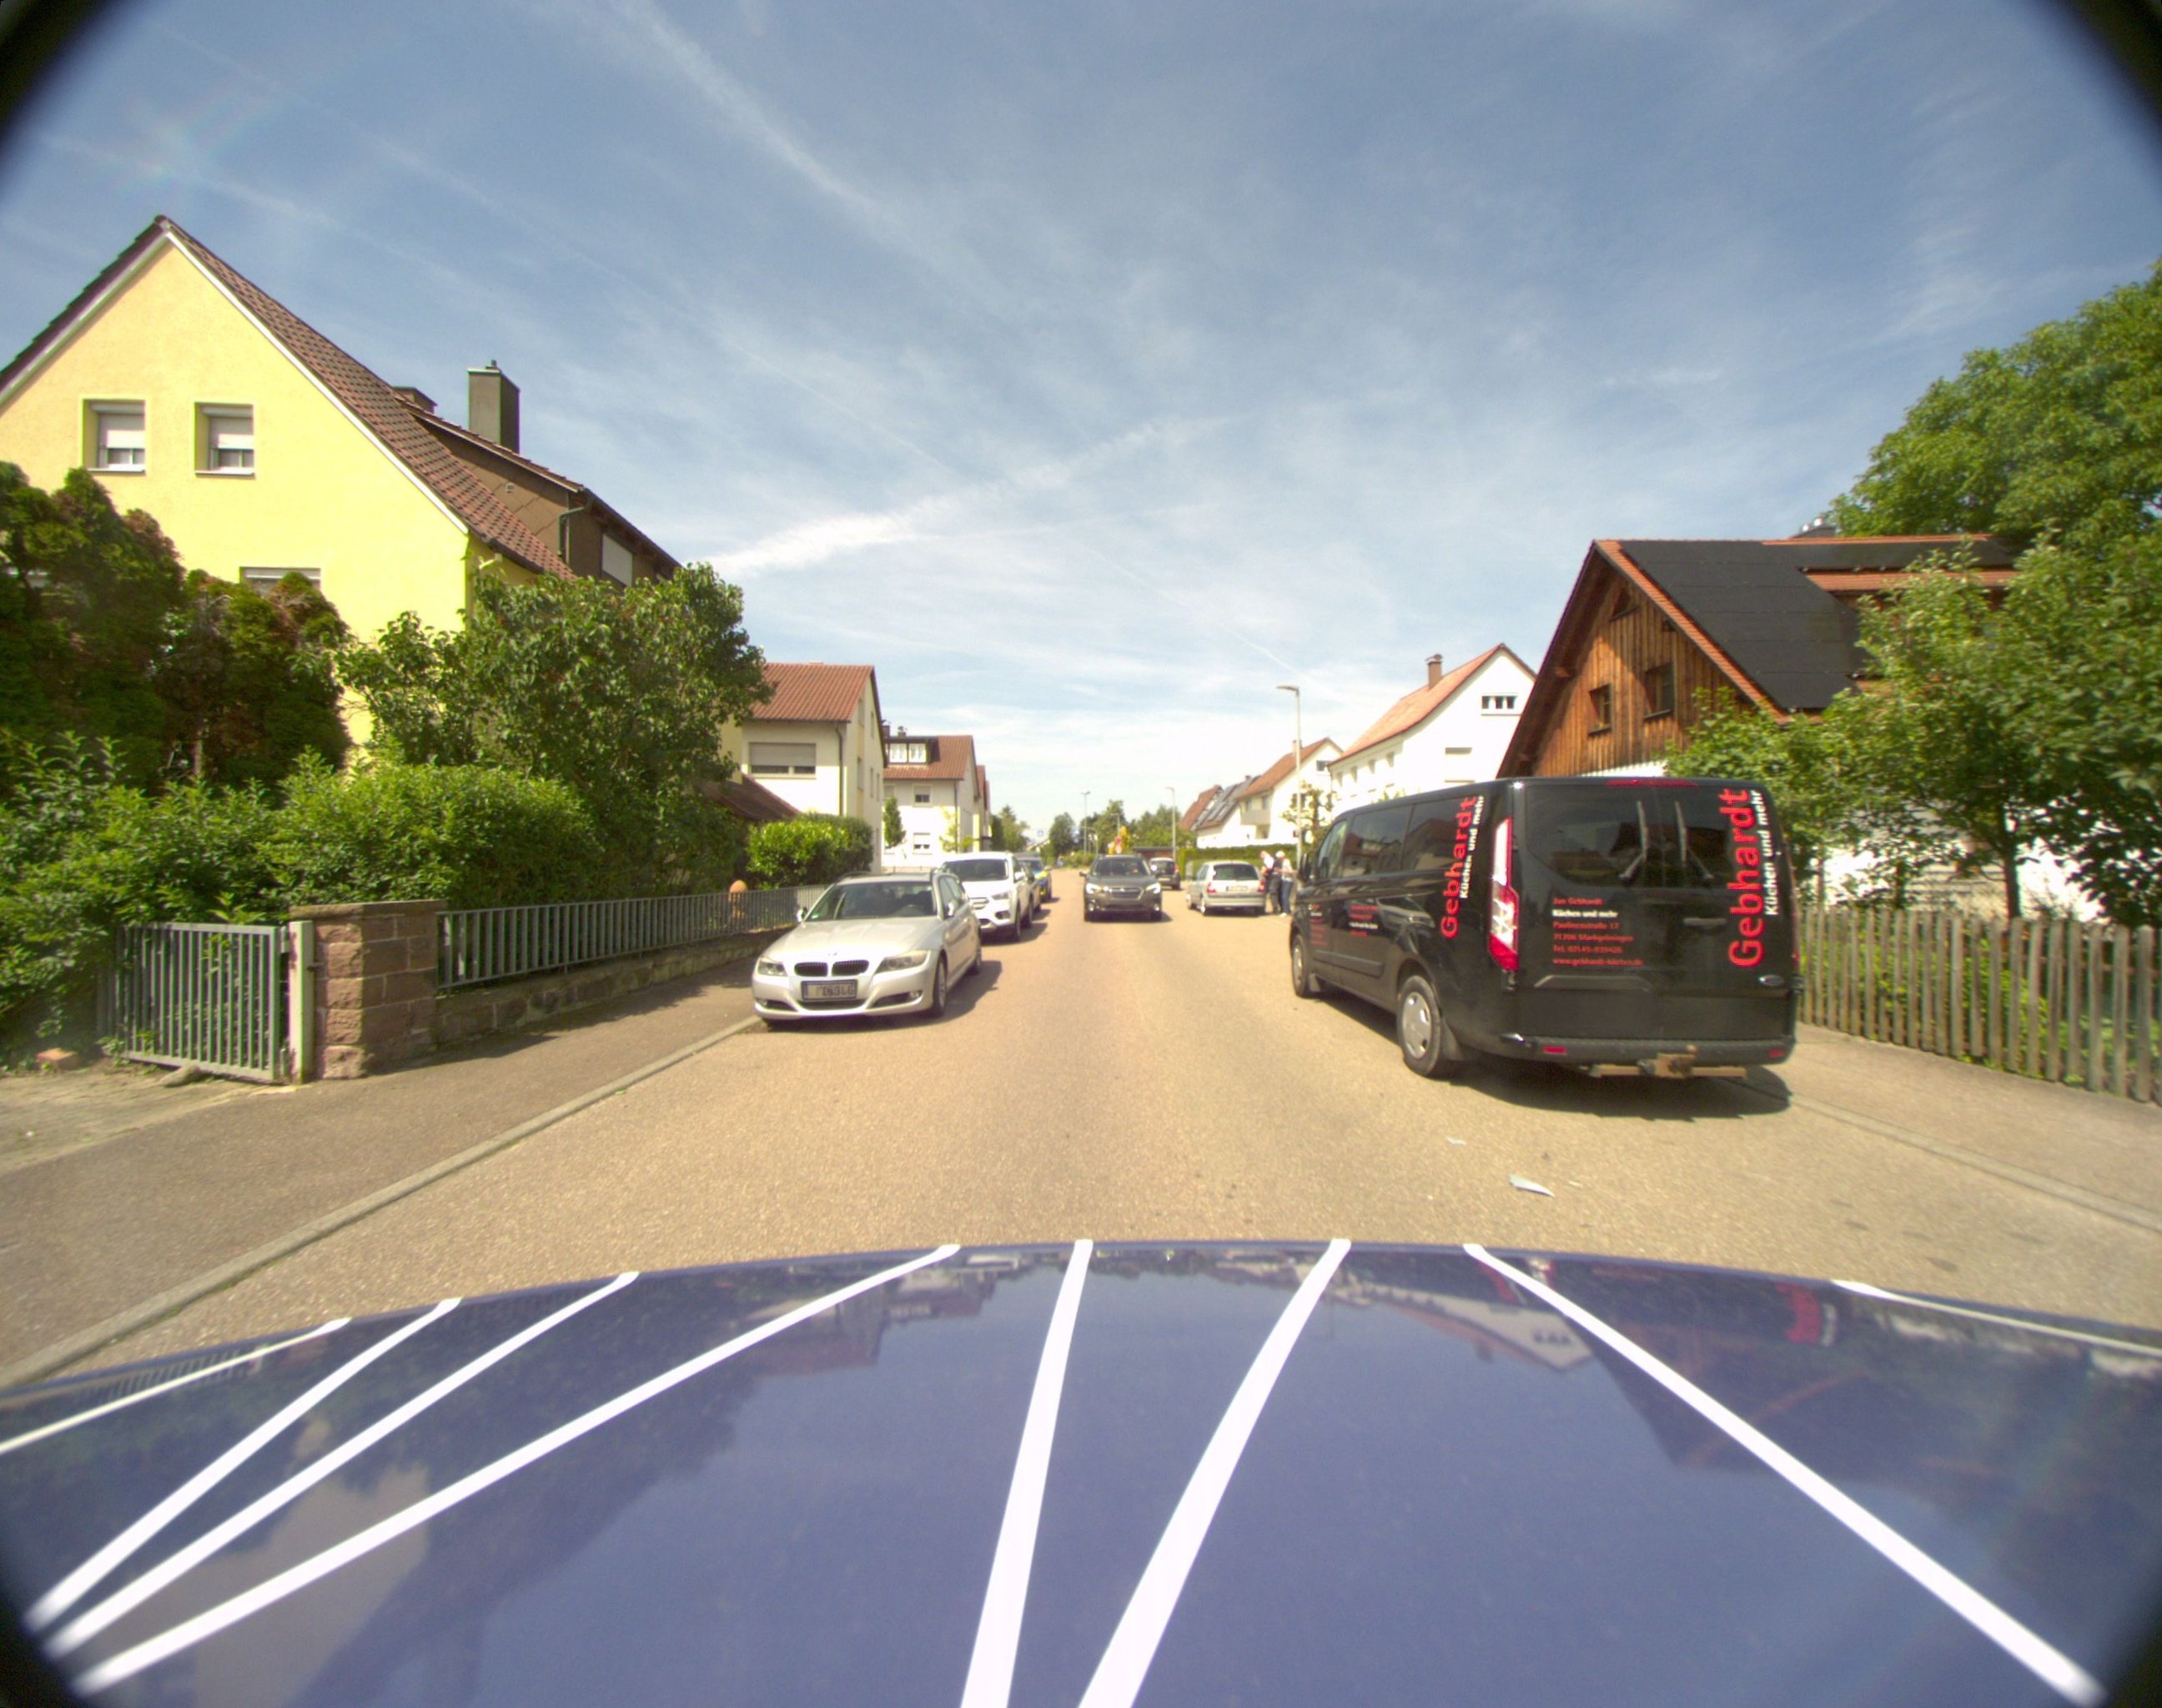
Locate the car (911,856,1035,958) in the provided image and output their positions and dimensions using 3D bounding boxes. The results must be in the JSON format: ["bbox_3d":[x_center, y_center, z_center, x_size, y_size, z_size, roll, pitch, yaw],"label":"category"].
[{"bbox_3d":[-1.973,0.911,15.108,1.740,1.652,4.337,-2,0,1],"label":"car"}]

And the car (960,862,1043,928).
[{"bbox_3d":[-2.001,0.996,20.237,1.628,1.460,4.372,-2,0,1],"label":"car"}]

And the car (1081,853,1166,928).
[{"bbox_3d":[0.950,0.815,19.046,1.838,1.637,4.323,-1,0,0],"label":"car"}]

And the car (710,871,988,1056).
[{"bbox_3d":[-2.255,0.990,8.712,1.756,1.412,4.420,-2,0,0],"label":"car"}]

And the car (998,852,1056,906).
[{"bbox_3d":[-1.857,0.835,27.168,1.670,1.739,4.056,-2,0,1],"label":"car"}]

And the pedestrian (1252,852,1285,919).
[{"bbox_3d":[4.794,0.791,19.452,0.640,1.672,0.590,-3,1,1],"label":"pedestrian"}]

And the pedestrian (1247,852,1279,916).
[{"bbox_3d":[4.800,0.790,20.064,0.640,1.633,0.590,-3,1,1],"label":"pedestrian"}]

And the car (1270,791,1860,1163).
[{"bbox_3d":[3.151,0.654,6.374,1.973,1.940,4.696,-1,0,0],"label":"car"}]

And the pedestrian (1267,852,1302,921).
[{"bbox_3d":[5.009,0.790,18.730,0.640,1.633,0.599,-3,0,1],"label":"pedestrian"}]

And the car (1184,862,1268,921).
[{"bbox_3d":[3.838,0.944,20.559,1.586,1.434,3.265,0,0,-1],"label":"car"}]

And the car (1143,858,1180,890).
[{"bbox_3d":[3.873,0.927,36.928,1.601,1.450,3.661,0,0,3],"label":"car"}]
